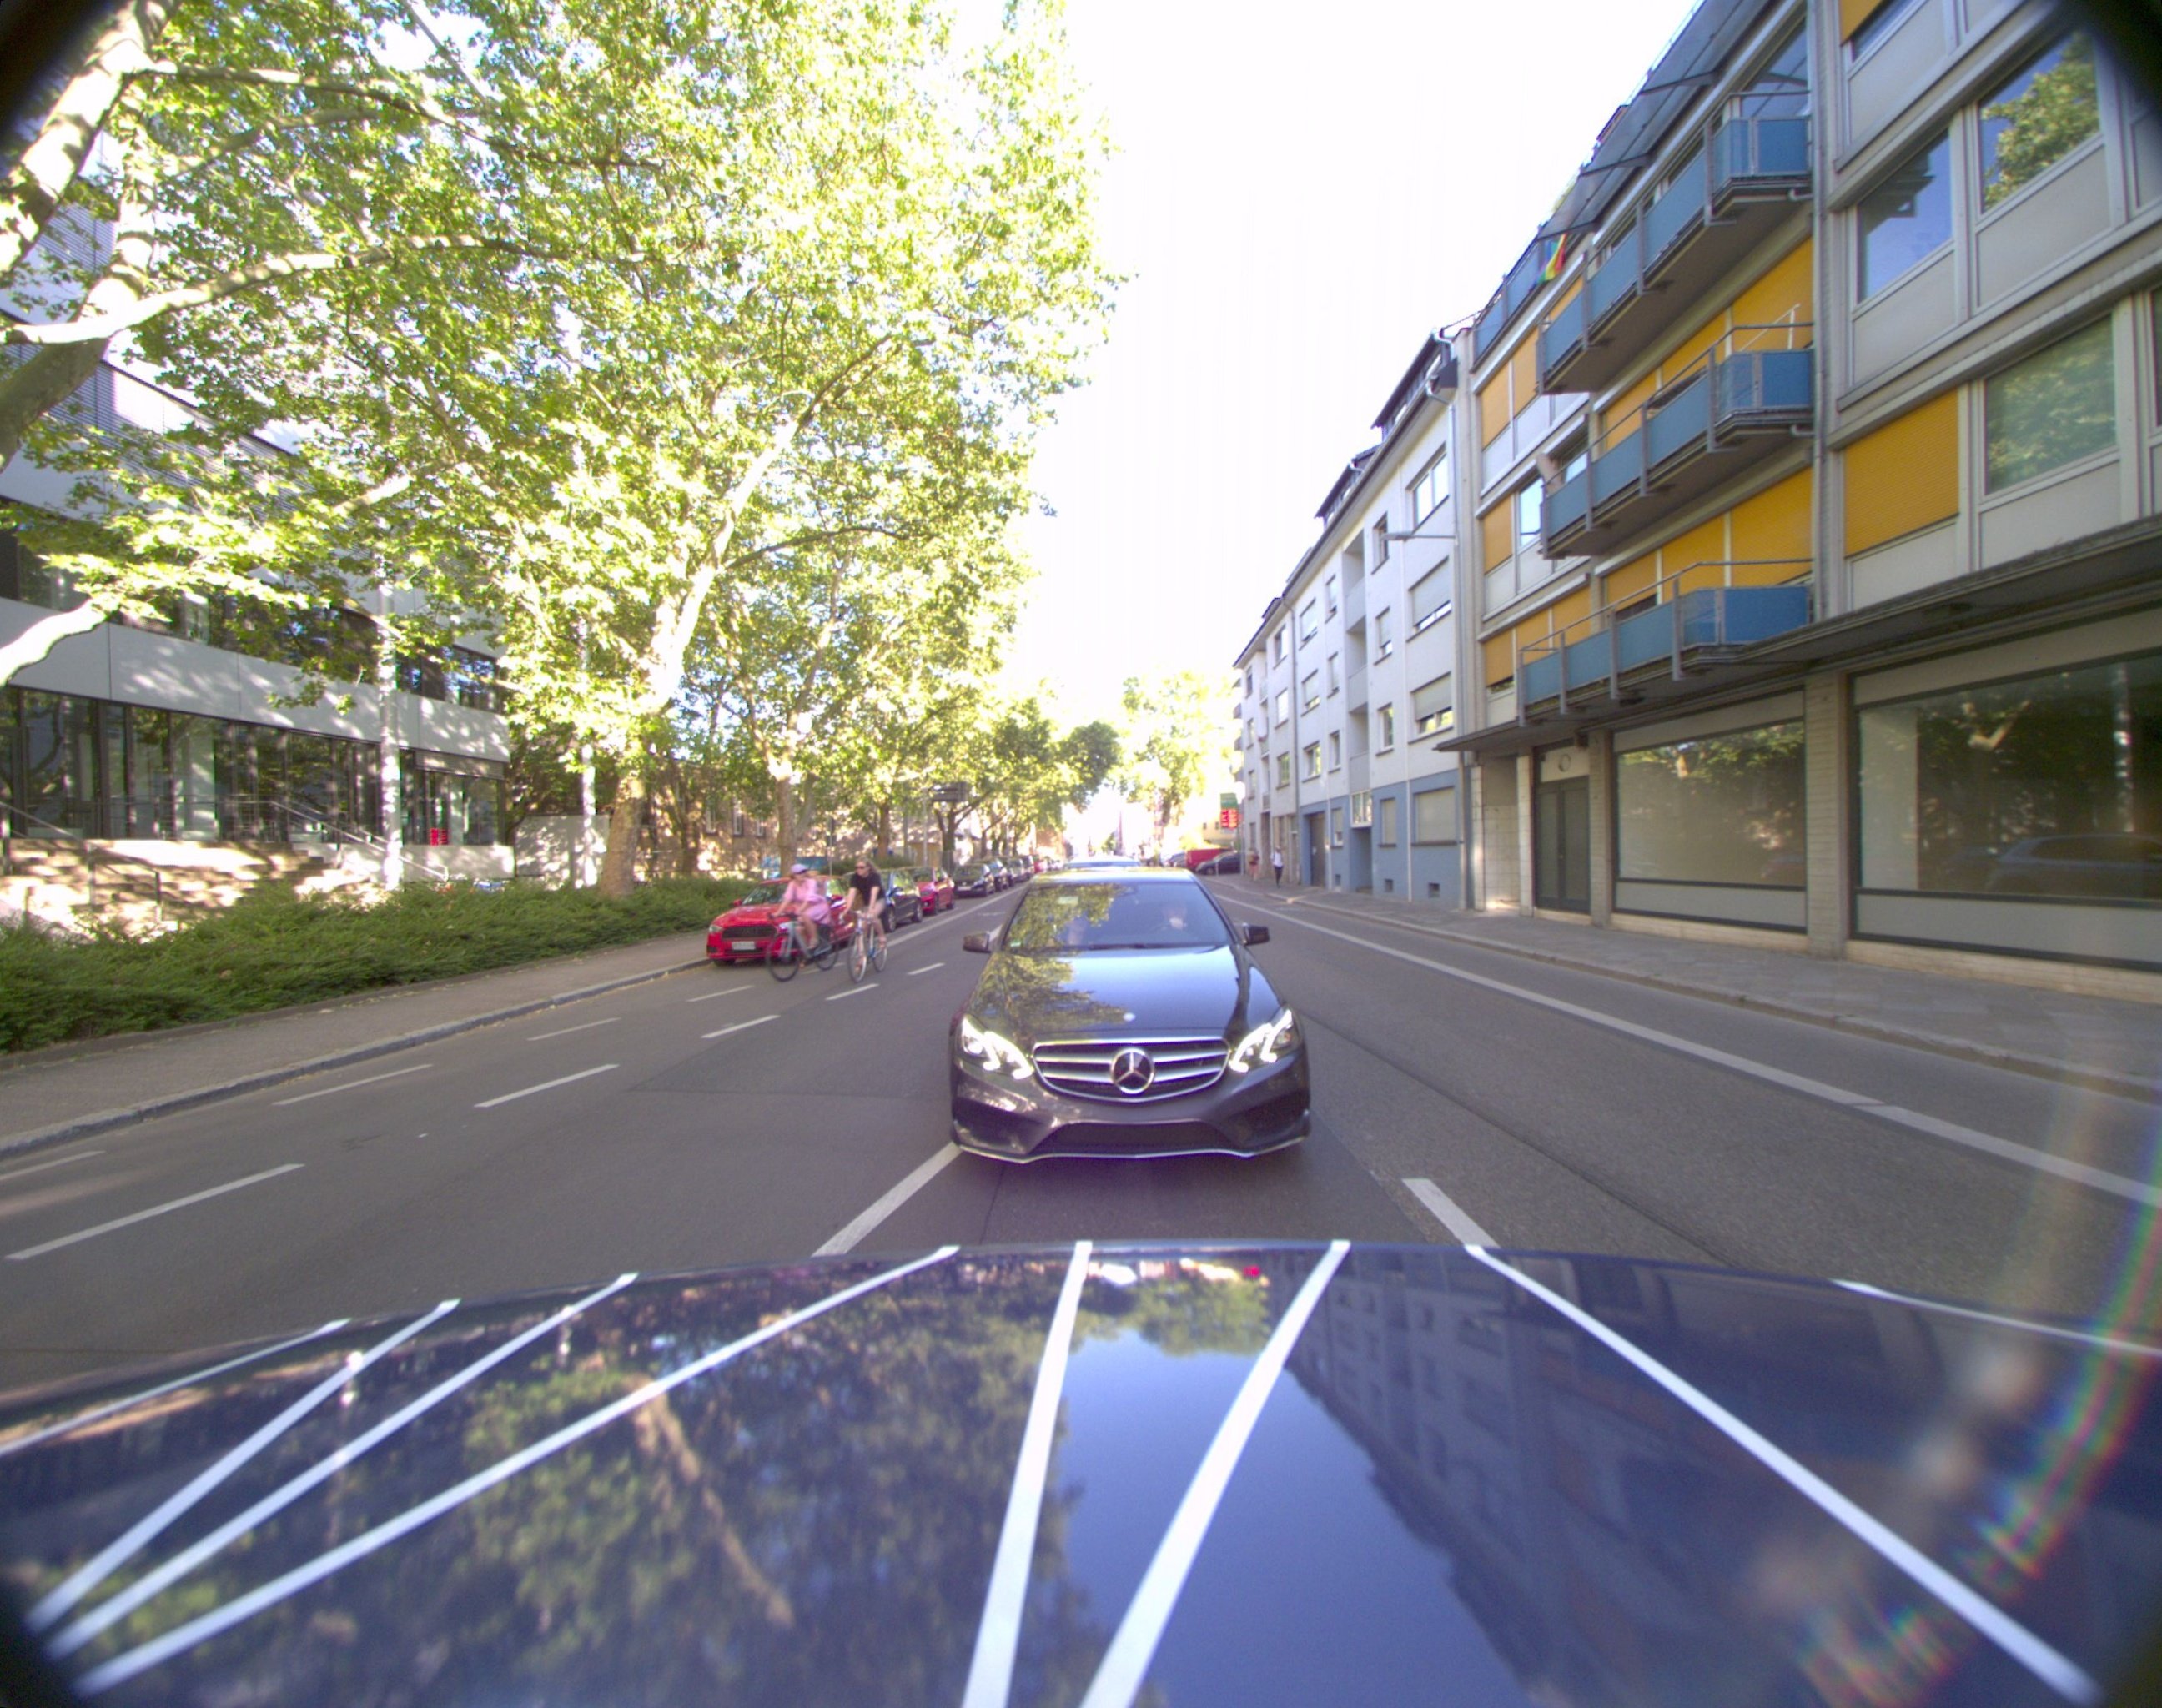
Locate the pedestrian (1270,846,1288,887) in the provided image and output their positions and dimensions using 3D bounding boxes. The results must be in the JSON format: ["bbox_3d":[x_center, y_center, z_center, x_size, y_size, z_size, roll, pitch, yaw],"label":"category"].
[{"bbox_3d":[8.543,0.544,32.772,0.569,1.716,0.343,-3,1,1],"label":"pedestrian"}]

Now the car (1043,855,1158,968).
[{"bbox_3d":[0.325,0.883,13.670,1.680,1.622,4.125,-3,0,1],"label":"car"}]

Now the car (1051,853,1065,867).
[{"bbox_3d":[-3.039,0.794,102.843,1.635,1.713,3.673,-3,0,1],"label":"car"}]

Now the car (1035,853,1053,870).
[{"bbox_3d":[-3.934,0.763,82.070,1.635,1.713,3.673,-3,0,1],"label":"car"}]

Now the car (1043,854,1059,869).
[{"bbox_3d":[-3.628,0.929,92.541,1.635,1.713,3.673,-3,0,1],"label":"car"}]

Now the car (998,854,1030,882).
[{"bbox_3d":[-4.418,0.901,50.713,1.635,1.644,3.845,-3,0,1],"label":"car"}]

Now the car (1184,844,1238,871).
[{"bbox_3d":[10.234,0.263,59.973,3.927,1.912,1.636,-3,0,1],"label":"car"}]

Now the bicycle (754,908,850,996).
[{"bbox_3d":[-3.924,1.343,10.841,0.602,0.979,1.881,-3,0,1],"label":"bicycle"}]

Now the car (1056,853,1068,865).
[{"bbox_3d":[-2.740,0.718,109.848,1.635,1.713,3.673,-3,0,1],"label":"car"}]

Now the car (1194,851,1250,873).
[{"bbox_3d":[10.126,0.559,54.727,3.670,1.403,1.636,-3,0,1],"label":"car"}]

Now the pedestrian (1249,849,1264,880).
[{"bbox_3d":[8.587,0.519,37.256,0.569,1.509,0.343,-3,1,1],"label":"pedestrian"}]

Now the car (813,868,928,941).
[{"bbox_3d":[-5.007,1.150,18.578,1.635,1.455,3.740,-3,0,1],"label":"car"}]

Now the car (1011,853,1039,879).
[{"bbox_3d":[-4.064,0.832,55.583,1.635,1.799,3.673,-3,0,1],"label":"car"}]

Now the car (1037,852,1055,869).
[{"bbox_3d":[-3.946,0.721,86.172,1.635,1.713,3.673,-3,0,1],"label":"car"}]

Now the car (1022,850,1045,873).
[{"bbox_3d":[-4.131,0.644,66.061,1.635,1.878,3.673,-3,0,1],"label":"car"}]

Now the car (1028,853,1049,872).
[{"bbox_3d":[-3.963,0.787,71.743,1.635,1.713,3.673,-3,0,1],"label":"car"}]

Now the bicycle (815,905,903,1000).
[{"bbox_3d":[-2.955,1.280,10.281,0.612,1.020,1.731,-3,0,1],"label":"bicycle"}]

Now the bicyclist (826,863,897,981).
[{"bbox_3d":[-2.967,0.891,10.329,0.612,1.507,0.889,-3,1,1],"label":"bicyclist"}]

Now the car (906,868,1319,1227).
[{"bbox_3d":[0.171,0.922,5.509,1.804,1.455,4.125,-3,0,1],"label":"car"}]

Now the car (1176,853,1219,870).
[{"bbox_3d":[9.587,0.639,62.670,3.325,1.241,1.295,-3,0,1],"label":"car"}]

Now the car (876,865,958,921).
[{"bbox_3d":[-5.004,1.150,23.644,1.635,1.455,3.740,-3,0,1],"label":"car"}]

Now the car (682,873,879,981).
[{"bbox_3d":[-5.152,1.173,13.699,1.804,1.455,4.125,-3,0,1],"label":"car"}]

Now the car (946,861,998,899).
[{"bbox_3d":[-4.702,1.098,33.253,1.635,1.455,3.740,-3,0,1],"label":"car"}]

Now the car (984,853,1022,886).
[{"bbox_3d":[-4.498,0.858,44.256,1.635,1.795,3.845,-3,0,1],"label":"car"}]

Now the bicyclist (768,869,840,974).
[{"bbox_3d":[-3.948,0.934,10.884,0.602,1.393,0.931,-3,1,1],"label":"bicyclist"}]

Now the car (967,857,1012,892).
[{"bbox_3d":[-4.527,0.974,38.058,1.635,1.578,3.845,-3,0,1],"label":"car"}]

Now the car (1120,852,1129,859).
[{"bbox_3d":[9.862,0.307,173.309,1.853,1.455,4.099,-3,0,1],"label":"car"}]
